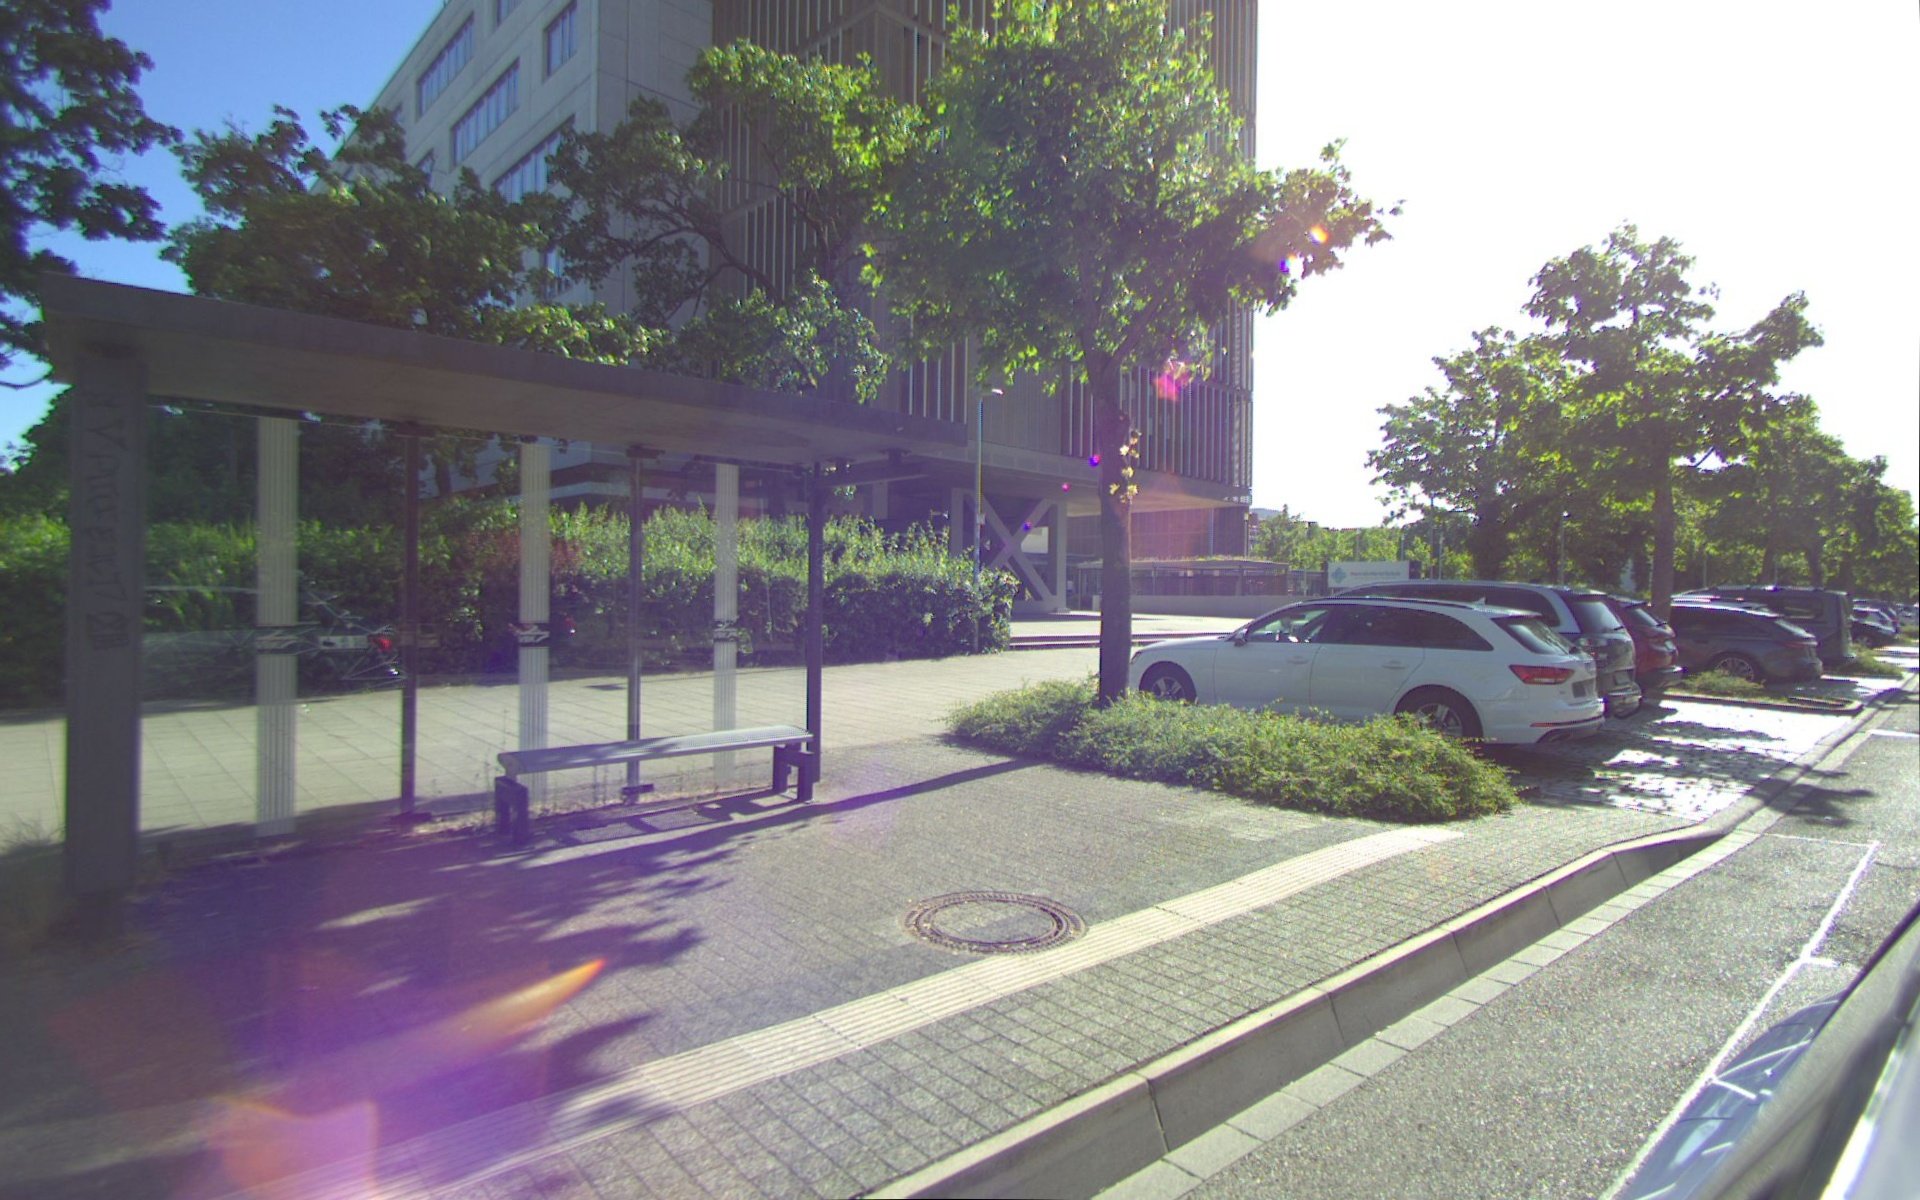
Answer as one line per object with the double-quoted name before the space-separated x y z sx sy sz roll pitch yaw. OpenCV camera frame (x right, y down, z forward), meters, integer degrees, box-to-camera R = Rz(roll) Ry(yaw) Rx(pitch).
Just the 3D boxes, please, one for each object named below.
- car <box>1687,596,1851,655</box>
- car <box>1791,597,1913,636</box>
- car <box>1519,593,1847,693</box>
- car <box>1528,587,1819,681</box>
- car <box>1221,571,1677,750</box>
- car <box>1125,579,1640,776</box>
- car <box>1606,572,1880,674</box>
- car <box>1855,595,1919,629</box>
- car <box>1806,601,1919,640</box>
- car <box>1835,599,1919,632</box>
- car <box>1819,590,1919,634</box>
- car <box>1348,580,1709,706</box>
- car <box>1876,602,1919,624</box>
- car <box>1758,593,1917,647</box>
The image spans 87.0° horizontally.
"car" 24.049 0.712 30.152 3.706 1.532 1.708 2 1 42
"car" 37.825 0.663 42.952 1.703 1.444 3.756 1 1 -44
"car" 12.650 0.657 17.925 2.039 1.427 4.407 0 1 -43
"car" 14.051 0.579 20.120 2.039 1.577 4.407 1 1 -43
"car" 5.566 0.530 11.945 2.039 1.661 4.407 1 1 -43
"car" 4.005 0.578 10.192 1.863 1.481 4.407 1 1 -43
"car" 16.804 0.402 21.878 2.039 1.916 4.407 1 1 -43
"car" 50.222 0.643 53.873 1.648 1.692 3.711 1 1 -44
"car" 40.994 0.878 45.997 1.648 1.586 3.711 1 1 -44
"car" 47.957 0.796 52.532 1.648 1.544 3.711 1 1 -44
"car" 43.011 0.526 47.921 1.668 1.912 3.386 1 1 -44
"car" 8.434 0.533 15.330 1.845 1.555 4.407 1 1 -43
"car" 64.535 0.902 68.452 1.648 1.444 3.711 1 1 -44
"car" 29.669 0.635 34.305 1.649 1.620 3.953 1 1 -45
